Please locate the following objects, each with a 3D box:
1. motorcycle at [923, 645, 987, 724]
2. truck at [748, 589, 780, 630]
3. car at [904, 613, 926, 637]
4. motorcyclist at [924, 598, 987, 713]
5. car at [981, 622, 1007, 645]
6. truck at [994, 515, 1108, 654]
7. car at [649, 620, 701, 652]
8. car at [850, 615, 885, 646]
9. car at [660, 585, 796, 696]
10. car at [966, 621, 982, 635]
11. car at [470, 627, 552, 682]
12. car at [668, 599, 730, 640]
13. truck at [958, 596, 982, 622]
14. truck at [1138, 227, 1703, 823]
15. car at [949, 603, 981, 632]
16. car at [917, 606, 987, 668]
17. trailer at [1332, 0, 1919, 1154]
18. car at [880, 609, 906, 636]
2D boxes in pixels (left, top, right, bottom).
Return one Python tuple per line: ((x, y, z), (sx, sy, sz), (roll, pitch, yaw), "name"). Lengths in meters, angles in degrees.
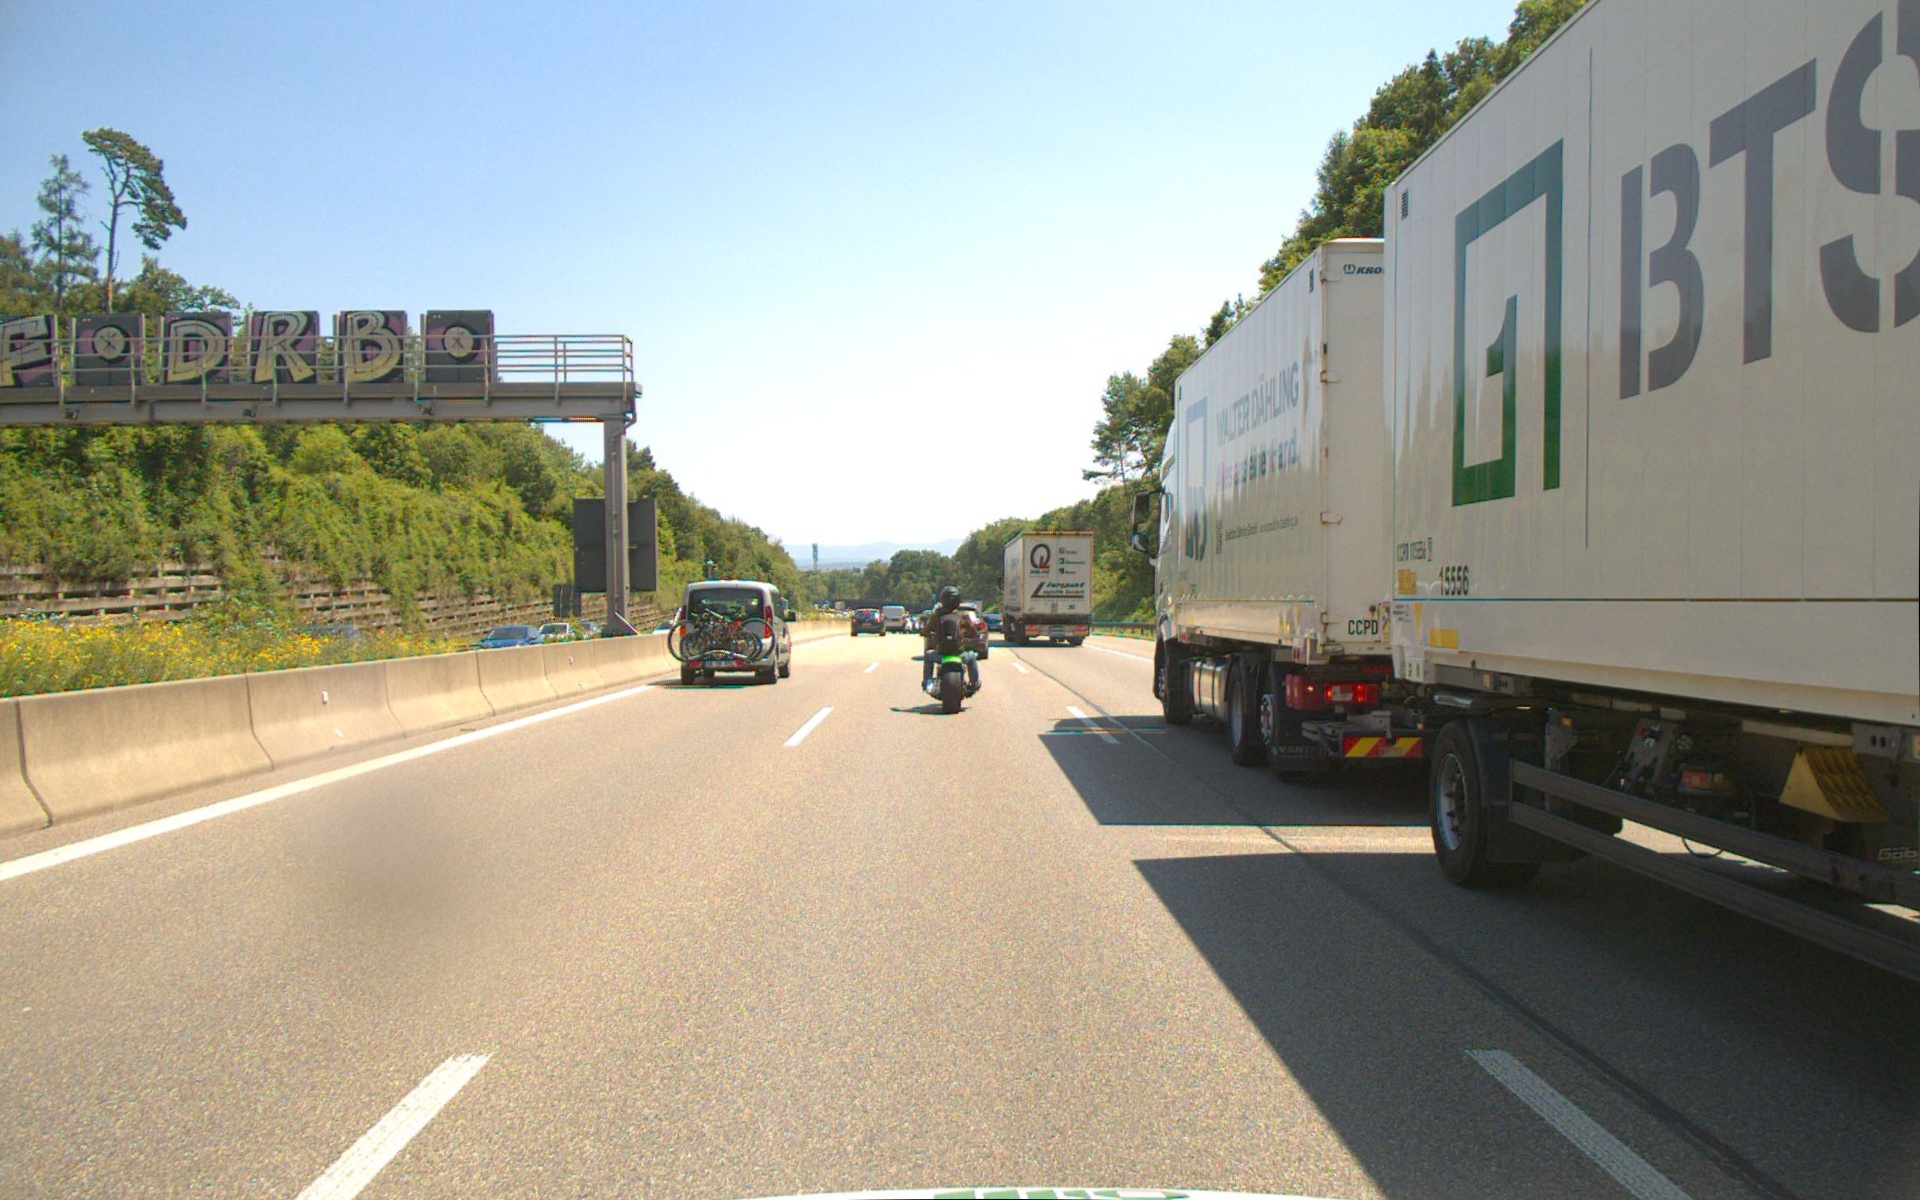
((-0.062, 1.135, 22.668), (0.844, 0.999, 2.130), (0, -1, 0), "motorcycle")
((-19.902, 0.928, 168.113), (2.625, 4.101, 5.929), (-1, 0, -1), "truck")
((-3.774, 2.068, 138.053), (1.794, 1.842, 4.119), (0, 0, -1), "car")
((-0.064, 0.744, 22.562), (0.838, 1.541, 0.913), (0, -1, 0), "motorcyclist")
((2.461, 2.448, 120.854), (1.794, 1.553, 4.026), (0, 0, -1), "car")
((3.368, -0.518, 66.836), (3.314, 4.800, 17.705), (1, 0, -1), "truck")
((-15.348, 1.920, 89.413), (1.921, 1.521, 5.885), (-2, 0, -2), "car")
((-4.947, 1.629, 88.823), (1.722, 1.571, 4.394), (0, 0, -1), "car")
((-4.224, 0.725, 30.916), (1.859, 1.880, 5.481), (0, -1, -1), "car")
((1.646, 3.320, 197.545), (1.794, 1.553, 4.026), (0, 0, -1), "car")
((-15.211, 1.816, 56.253), (1.673, 1.633, 4.198), (-2, 0, -1), "car")
((-11.752, 0.832, 74.839), (1.957, 1.717, 5.993), (-2, 0, -2), "car")
((1.336, 1.182, 221.728), (3.005, 3.405, 9.650), (1, 0, -1), "truck")
((3.782, -0.505, 16.804), (2.625, 4.131, 10.623), (0, 0, -1), "truck")
((0.268, 0.967, 94.971), (1.794, 1.586, 4.119), (0, 0, -1), "car")
((-0.252, 0.986, 45.513), (1.808, 1.584, 4.438), (0, 0, -1), "car")
((3.959, -0.575, 6.381), (2.625, 4.249, 10.063), (0, 0, -1), "trailer")
((-4.733, 1.608, 117.342), (1.794, 1.842, 4.119), (0, 0, -1), "car")
